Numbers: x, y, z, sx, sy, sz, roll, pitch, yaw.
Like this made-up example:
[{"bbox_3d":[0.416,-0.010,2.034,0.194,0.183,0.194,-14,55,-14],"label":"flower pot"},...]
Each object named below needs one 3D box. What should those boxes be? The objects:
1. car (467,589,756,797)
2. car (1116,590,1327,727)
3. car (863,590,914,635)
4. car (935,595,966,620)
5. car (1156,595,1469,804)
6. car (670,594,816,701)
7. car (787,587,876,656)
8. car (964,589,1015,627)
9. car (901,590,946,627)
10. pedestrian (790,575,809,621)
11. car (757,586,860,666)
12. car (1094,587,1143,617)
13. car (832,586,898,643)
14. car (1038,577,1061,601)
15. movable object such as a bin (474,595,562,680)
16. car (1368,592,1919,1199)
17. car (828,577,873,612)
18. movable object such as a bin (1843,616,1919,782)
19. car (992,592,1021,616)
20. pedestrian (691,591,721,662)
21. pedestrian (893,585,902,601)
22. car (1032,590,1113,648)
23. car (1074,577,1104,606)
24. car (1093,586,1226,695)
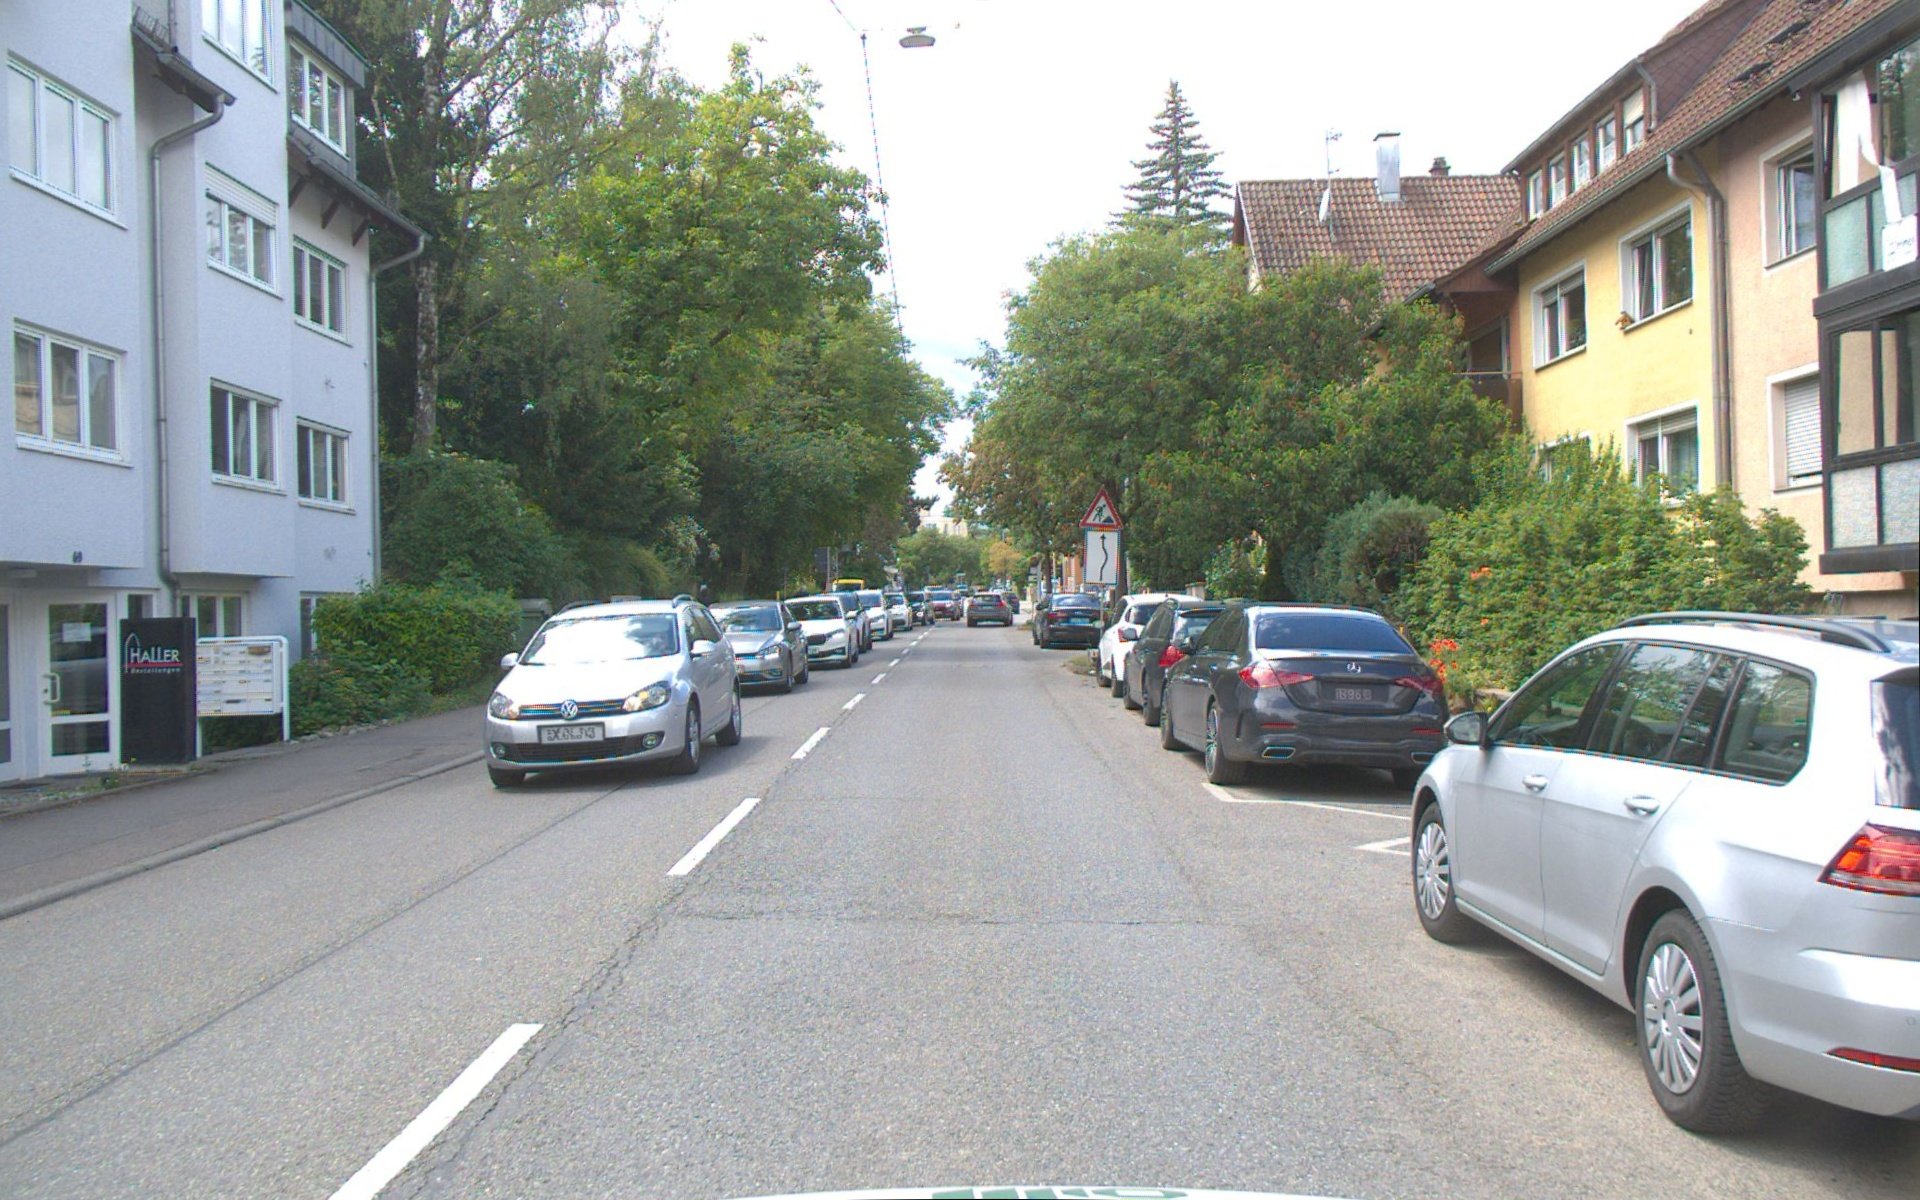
[{"bbox_3d":[-3.024,0.720,15.263,1.693,1.528,4.375,-3,0,-1],"label":"car"},{"bbox_3d":[3.088,0.629,20.454,1.952,1.448,4.589,-1,0,1],"label":"car"},{"bbox_3d":[-2.839,0.472,66.094,1.748,1.619,4.154,-3,0,1],"label":"car"},{"bbox_3d":[-0.560,0.447,97.666,1.656,1.450,3.438,-1,-1,2],"label":"car"},{"bbox_3d":[2.872,0.721,14.546,1.698,1.453,4.883,2,0,0],"label":"car"},{"bbox_3d":[-3.443,0.713,26.979,1.674,1.481,4.287,-4,0,1],"label":"car"},{"bbox_3d":[-3.282,0.517,42.990,1.889,1.573,4.086,-4,1,0],"label":"car"},{"bbox_3d":[1.321,0.343,72.772,1.934,1.539,4.269,2,0,5],"label":"car"},{"bbox_3d":[-1.668,0.363,76.782,1.752,1.568,4.265,-3,0,2],"label":"car"},{"bbox_3d":[-6.253,-0.074,64.523,0.700,1.793,1.121,-1,-1,-5],"label":"pedestrian"},{"bbox_3d":[-3.108,0.501,34.589,1.724,1.464,3.970,-3,1,0],"label":"car"},{"bbox_3d":[7.263,0.066,76.123,1.689,1.339,4.265,-1,0,-2],"label":"car"},{"bbox_3d":[-3.043,0.441,53.592,1.749,1.676,4.491,-3,0,1],"label":"car"},{"bbox_3d":[7.809,-0.946,144.627,1.952,2.049,4.001,-1,-1,2],"label":"car"},{"bbox_3d":[-7.847,0.657,29.431,1.304,1.452,1.212,-1,-1,-6],"label":"movable object such as a bin"},{"bbox_3d":[2.928,0.733,6.102,1.666,1.506,4.872,0,0,0],"label":"car"},{"bbox_3d":[-6.562,-0.297,99.488,2.101,2.015,4.932,-1,-1,3],"label":"car"},{"bbox_3d":[6.468,0.662,11.346,0.512,1.099,0.604,-1,-1,6],"label":"movable object such as a bin"},{"bbox_3d":[3.001,0.248,106.996,1.778,1.527,4.268,0,0,1],"label":"car"},{"bbox_3d":[-6.204,0.652,40.396,0.640,1.696,0.931,-1,-1,-5],"label":"pedestrian"},{"bbox_3d":[-5.762,-0.665,151.915,0.690,1.464,0.714,-1,-1,4],"label":"pedestrian"},{"bbox_3d":[2.981,0.468,44.740,1.765,1.470,4.886,1,0,-1],"label":"car"},{"bbox_3d":[8.219,-0.543,105.530,1.747,1.663,3.694,-4,0,3],"label":"car"},{"bbox_3d":[3.046,0.568,25.854,1.588,1.534,3.779,-1,0,0],"label":"car"}]
